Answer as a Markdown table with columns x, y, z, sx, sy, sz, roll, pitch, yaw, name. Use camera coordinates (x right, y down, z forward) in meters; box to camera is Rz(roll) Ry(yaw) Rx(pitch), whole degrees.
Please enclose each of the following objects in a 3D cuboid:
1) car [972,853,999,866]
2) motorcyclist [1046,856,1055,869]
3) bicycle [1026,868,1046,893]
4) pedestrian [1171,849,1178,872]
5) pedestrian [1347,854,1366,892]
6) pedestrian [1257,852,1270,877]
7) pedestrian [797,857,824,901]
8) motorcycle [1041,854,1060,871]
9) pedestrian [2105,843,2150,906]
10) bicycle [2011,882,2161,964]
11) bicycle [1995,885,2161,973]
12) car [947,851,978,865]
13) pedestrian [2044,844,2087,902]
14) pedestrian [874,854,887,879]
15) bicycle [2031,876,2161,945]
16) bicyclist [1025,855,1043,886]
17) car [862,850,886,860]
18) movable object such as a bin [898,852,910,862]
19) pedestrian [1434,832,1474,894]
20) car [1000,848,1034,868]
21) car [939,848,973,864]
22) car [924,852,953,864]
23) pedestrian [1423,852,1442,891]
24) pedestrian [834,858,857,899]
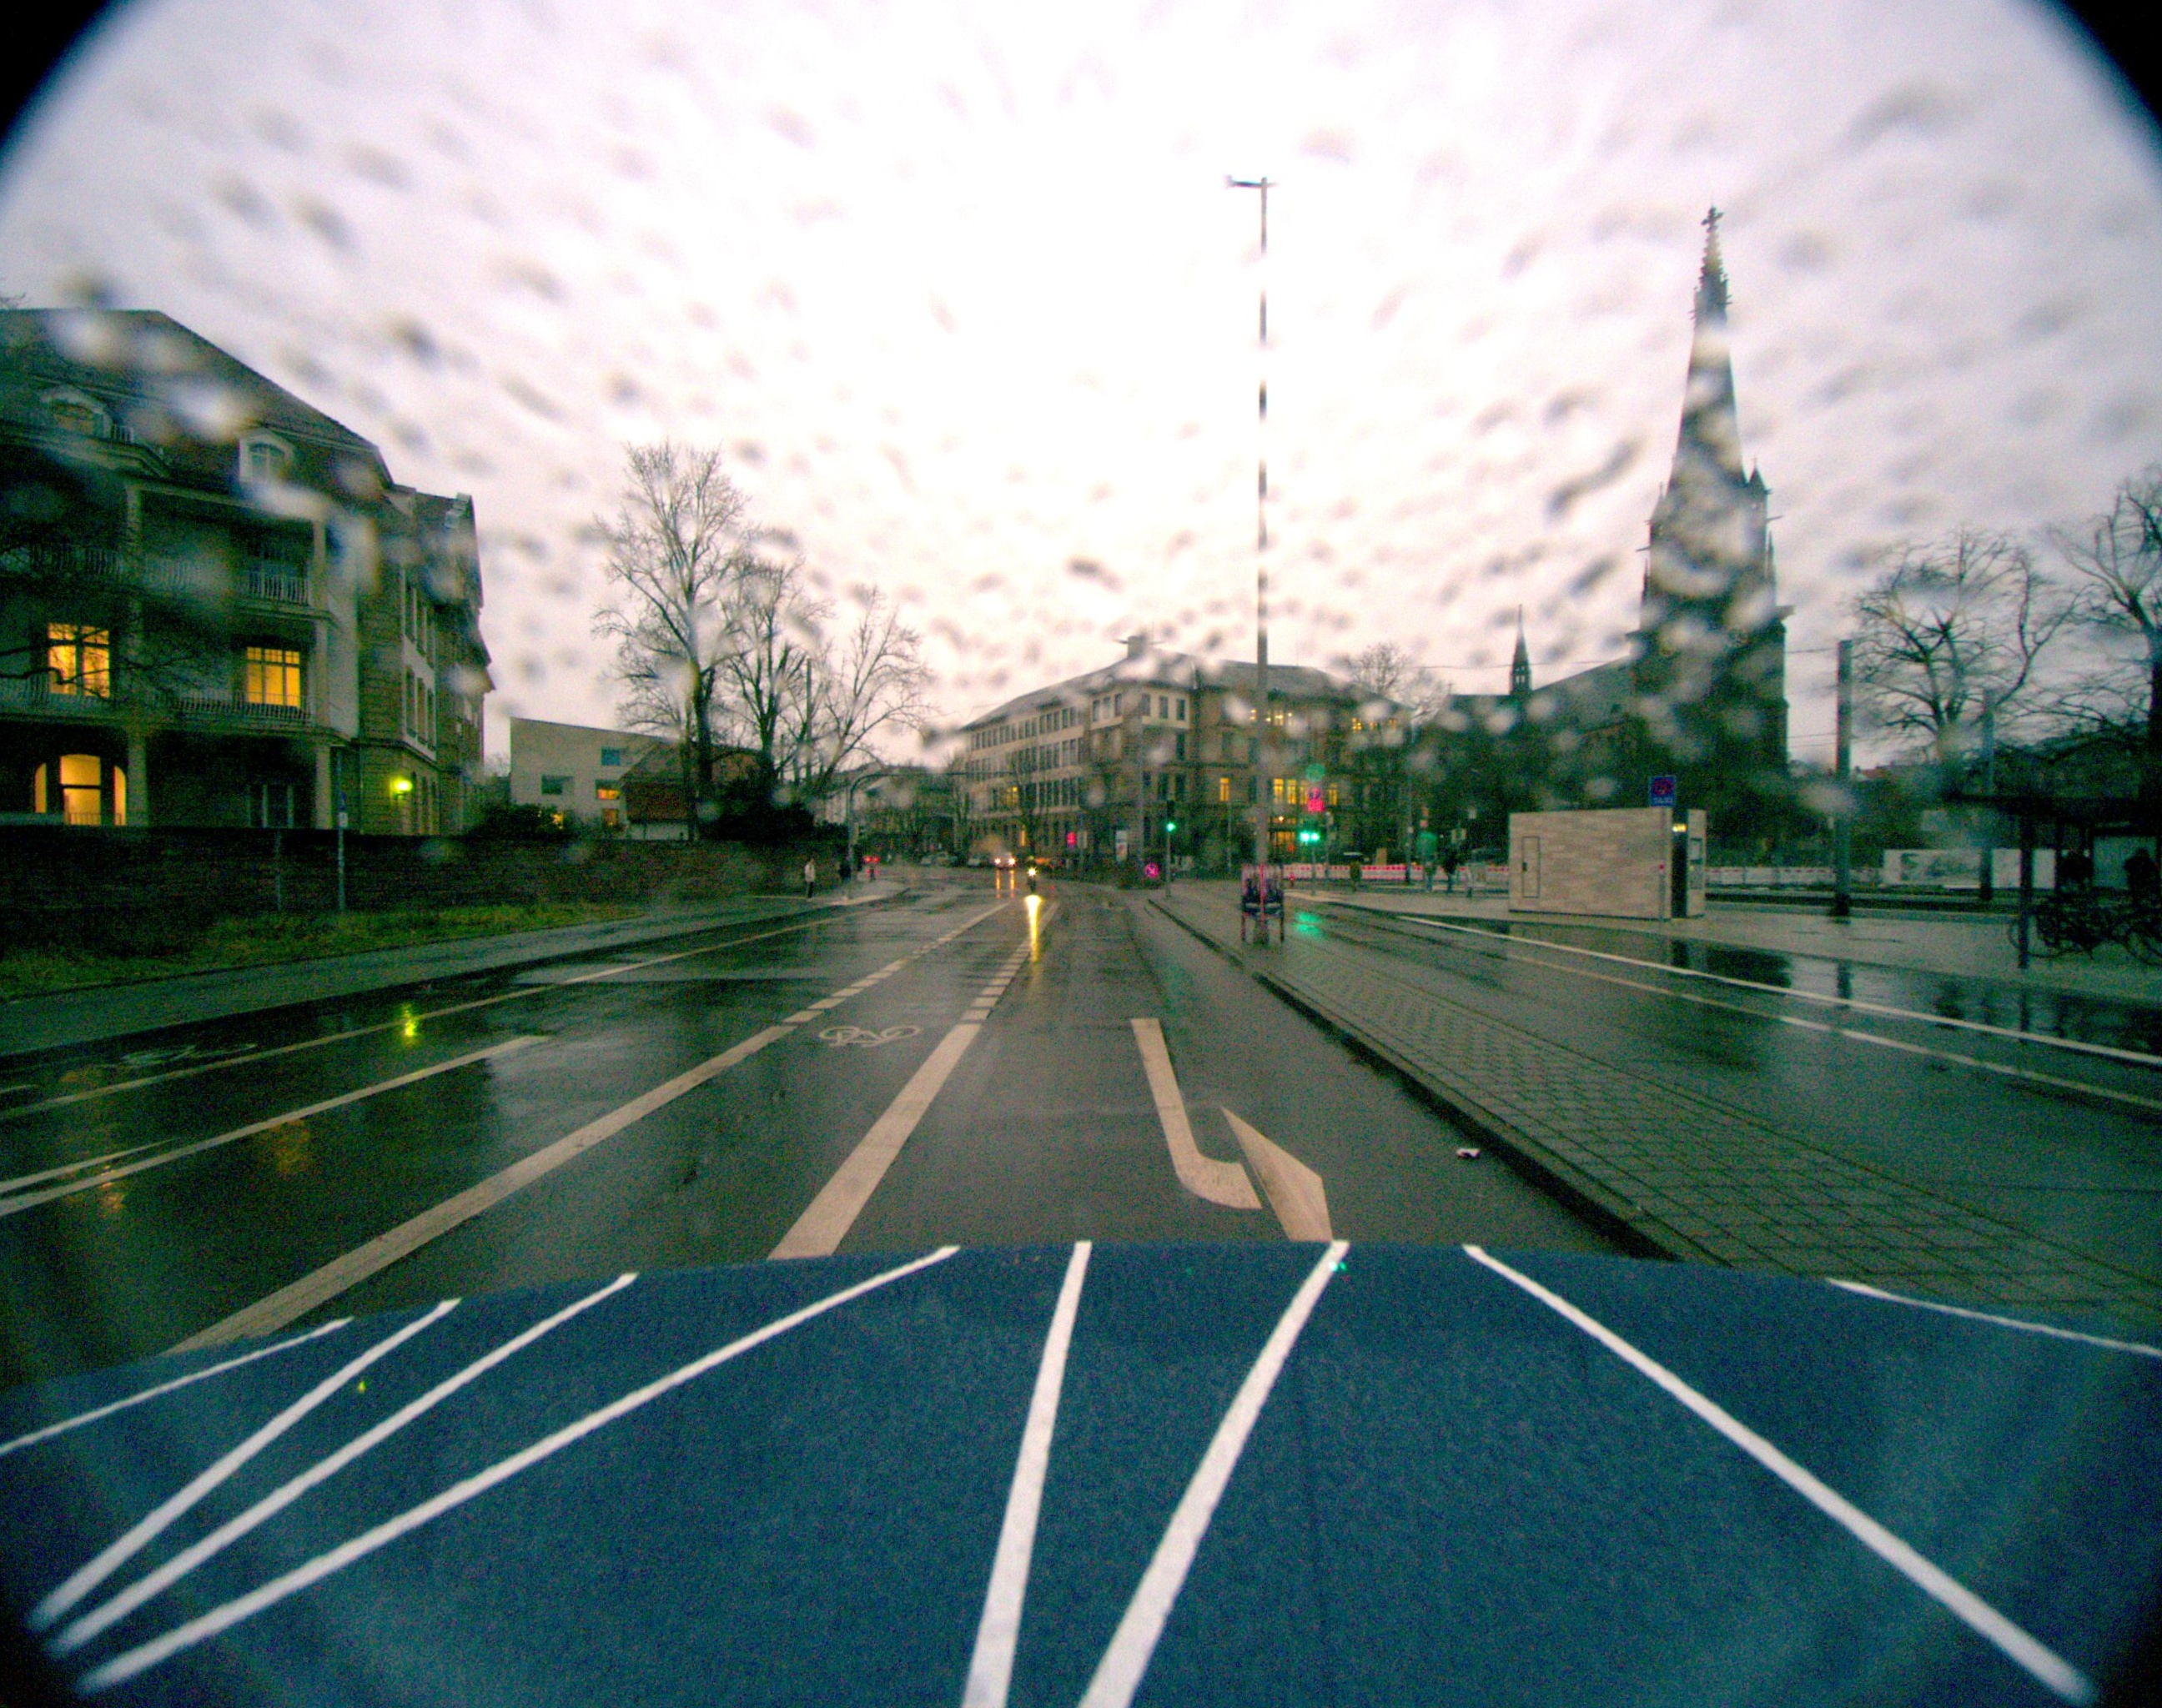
| x | y | z | sx | sy | sz | roll | pitch | yaw | name |
| --- | --- | --- | --- | --- | --- | --- | --- | --- | --- |
| -12.010 | 0.638 | 95.397 | 1.633 | 1.449 | 3.831 | -1 | 2 | 23 | car |
| -2.768 | 0.769 | 68.745 | 0.538 | 1.187 | 0.609 | -3 | 3 | -25 | motorcyclist |
| -2.069 | 1.199 | 35.166 | 0.723 | 1.084 | 2.285 | -2 | 0 | 1 | bicycle |
| 8.570 | 0.585 | 69.711 | 0.571 | 2.003 | 0.587 | -1 | 3 | 5 | pedestrian |
| 12.488 | 0.834 | 34.425 | 0.673 | 1.665 | 0.731 | 0 | 3 | 32 | pedestrian |
| 14.781 | 0.868 | 61.450 | 0.646 | 2.003 | 0.740 | -4 | 3 | -36 | pedestrian |
| -10.599 | 0.978 | 29.796 | 0.963 | 1.666 | 0.778 | 1 | 1 | -21 | pedestrian |
| -2.786 | 0.723 | 68.747 | 0.833 | 1.488 | 2.309 | 0 | 1 | -26 | motorcycle |
| 30.845 | 0.584 | 22.391 | 0.715 | 1.796 | 0.715 | -2 | 2 | -34 | pedestrian |
| 16.604 | 1.087 | 12.282 | 0.551 | 1.158 | 1.894 | -3 | 3 | -29 | bicycle |
| 15.565 | 1.124 | 11.627 | 0.551 | 1.158 | 1.938 | -3 | 3 | -29 | bicycle |
| -15.403 | 0.523 | 98.776 | 1.819 | 1.531 | 3.983 | 0 | 2 | 29 | car |
| 30.194 | 0.569 | 23.300 | 0.715 | 1.747 | 0.715 | -2 | 2 | -34 | pedestrian |
| -13.780 | 0.862 | 52.222 | 0.808 | 1.675 | 1.155 | 1 | 0 | -16 | pedestrian |
| 19.675 | 1.053 | 14.464 | 0.551 | 1.158 | 1.894 | -3 | 3 | -29 | bicycle |
| -2.165 | 0.753 | 35.042 | 0.717 | 1.335 | 0.719 | -2 | 2 | 1 | bicyclist |
| -28.476 | 0.133 | 104.470 | 1.756 | 1.370 | 4.354 | 1 | 0 | -34 | car |
| -27.039 | 0.440 | 115.936 | 1.341 | 1.456 | 0.987 | -1 | 3 | 19 | movable object such as a bin |
| 14.551 | 0.325 | 29.637 | 0.996 | 2.357 | 1.063 | -2 | 3 | -4 | pedestrian |
| -7.097 | 0.411 | 84.638 | 1.908 | 2.022 | 4.809 | -1 | 2 | 19 | car |
| -16.747 | 0.252 | 101.658 | 1.961 | 2.042 | 4.629 | 0 | 2 | 29 | car |
| -20.069 | 0.542 | 106.873 | 1.771 | 1.582 | 4.191 | 0 | 2 | 27 | car |
| 16.631 | 0.813 | 35.939 | 0.604 | 1.803 | 0.826 | -4 | 1 | 15 | pedestrian |
| -9.593 | 0.989 | 30.983 | 0.792 | 1.666 | 0.729 | 1 | 1 | -12 | pedestrian |
